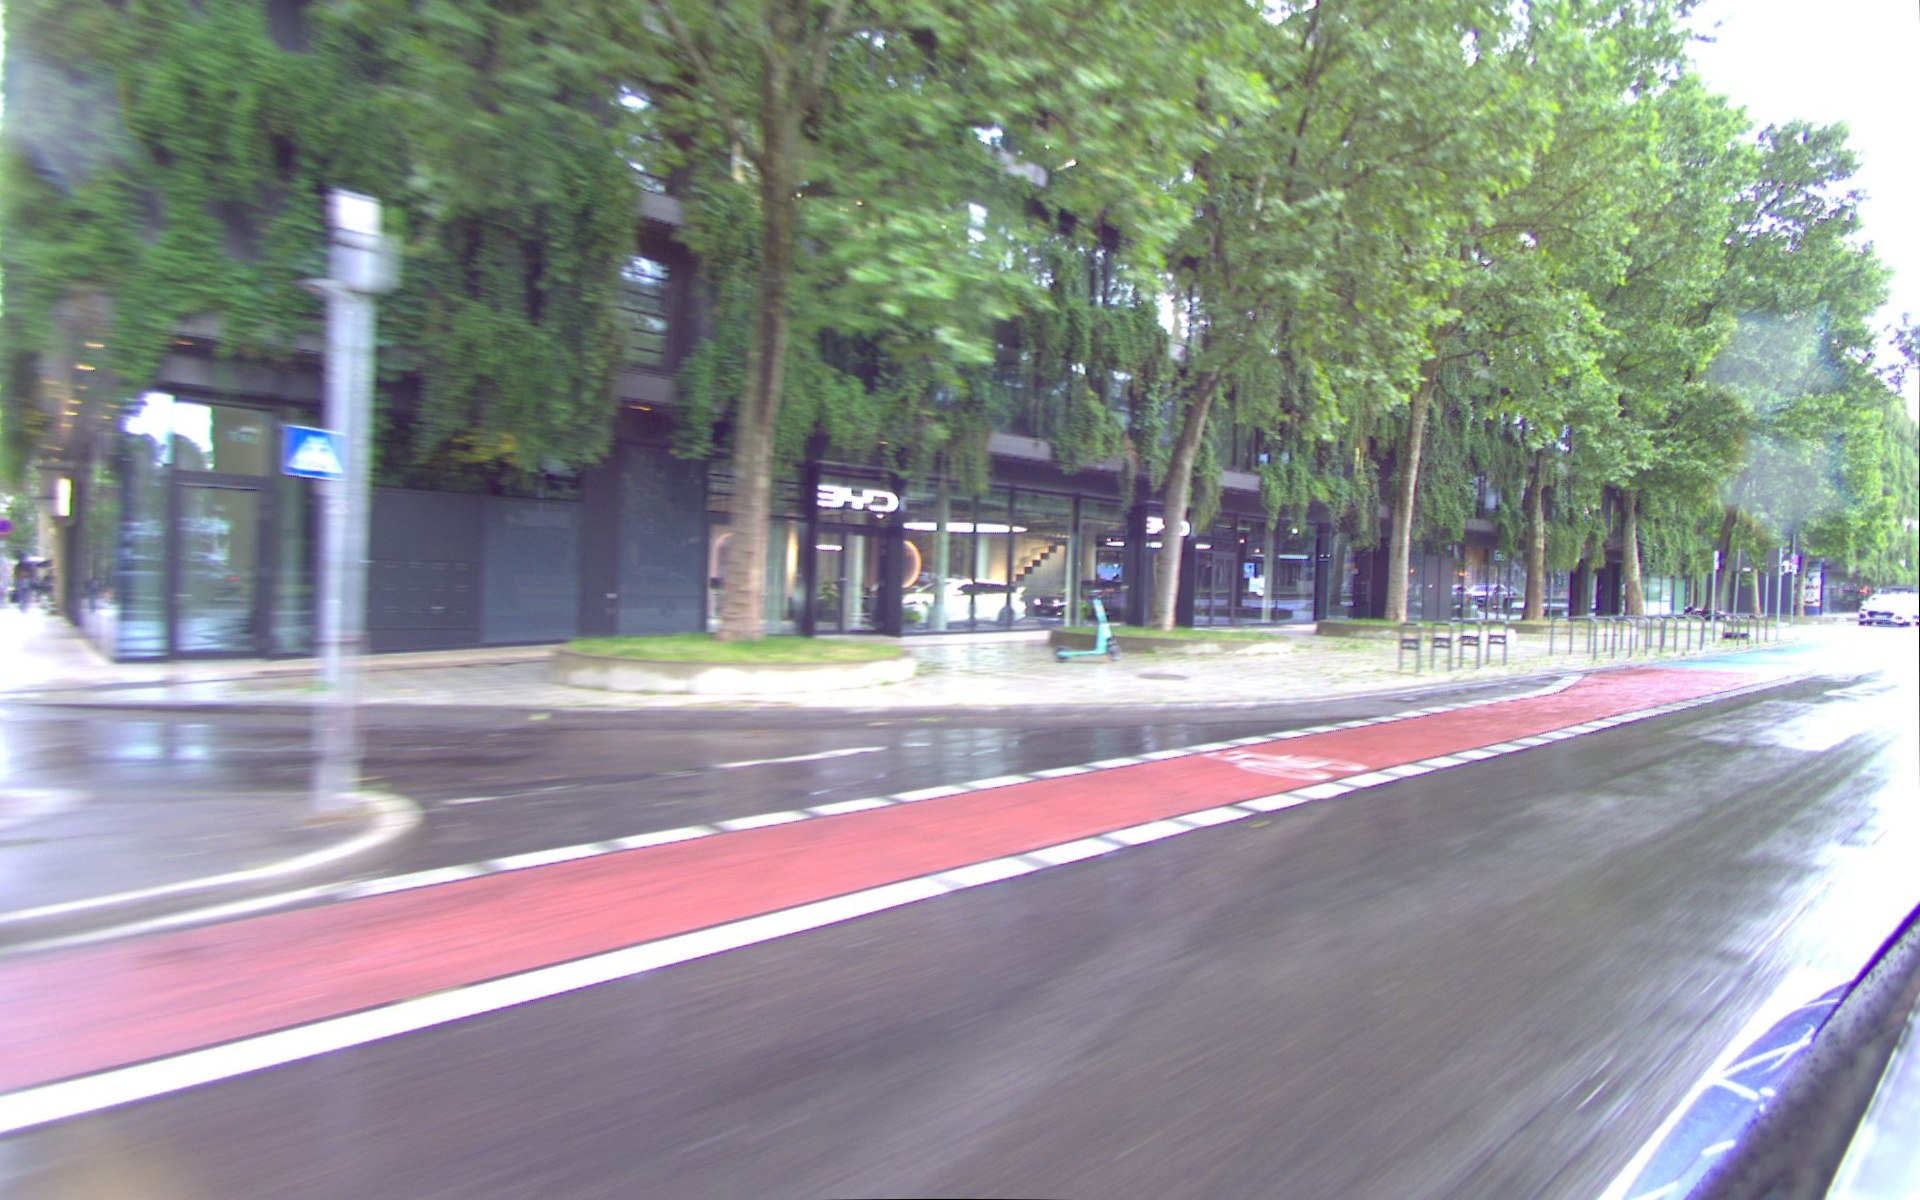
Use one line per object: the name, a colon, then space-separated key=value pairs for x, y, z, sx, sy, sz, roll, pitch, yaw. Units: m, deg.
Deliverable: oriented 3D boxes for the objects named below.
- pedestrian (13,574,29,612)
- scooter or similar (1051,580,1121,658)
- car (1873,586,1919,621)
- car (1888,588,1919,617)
pedestrian: x=-36.646 y=-0.285 z=39.493 sx=0.420 sy=1.474 sz=0.419 roll=-1 pitch=0 yaw=-45
scooter or similar: x=2.150 y=0.318 z=17.269 sx=1.165 sy=1.298 sz=0.535 roll=-1 pitch=0 yaw=9
car: x=50.351 y=0.181 z=54.037 sx=4.520 sy=1.758 sz=1.930 roll=-1 pitch=0 yaw=-42
car: x=54.872 y=0.137 z=57.940 sx=4.504 sy=1.581 sz=2.035 roll=-1 pitch=0 yaw=-40
